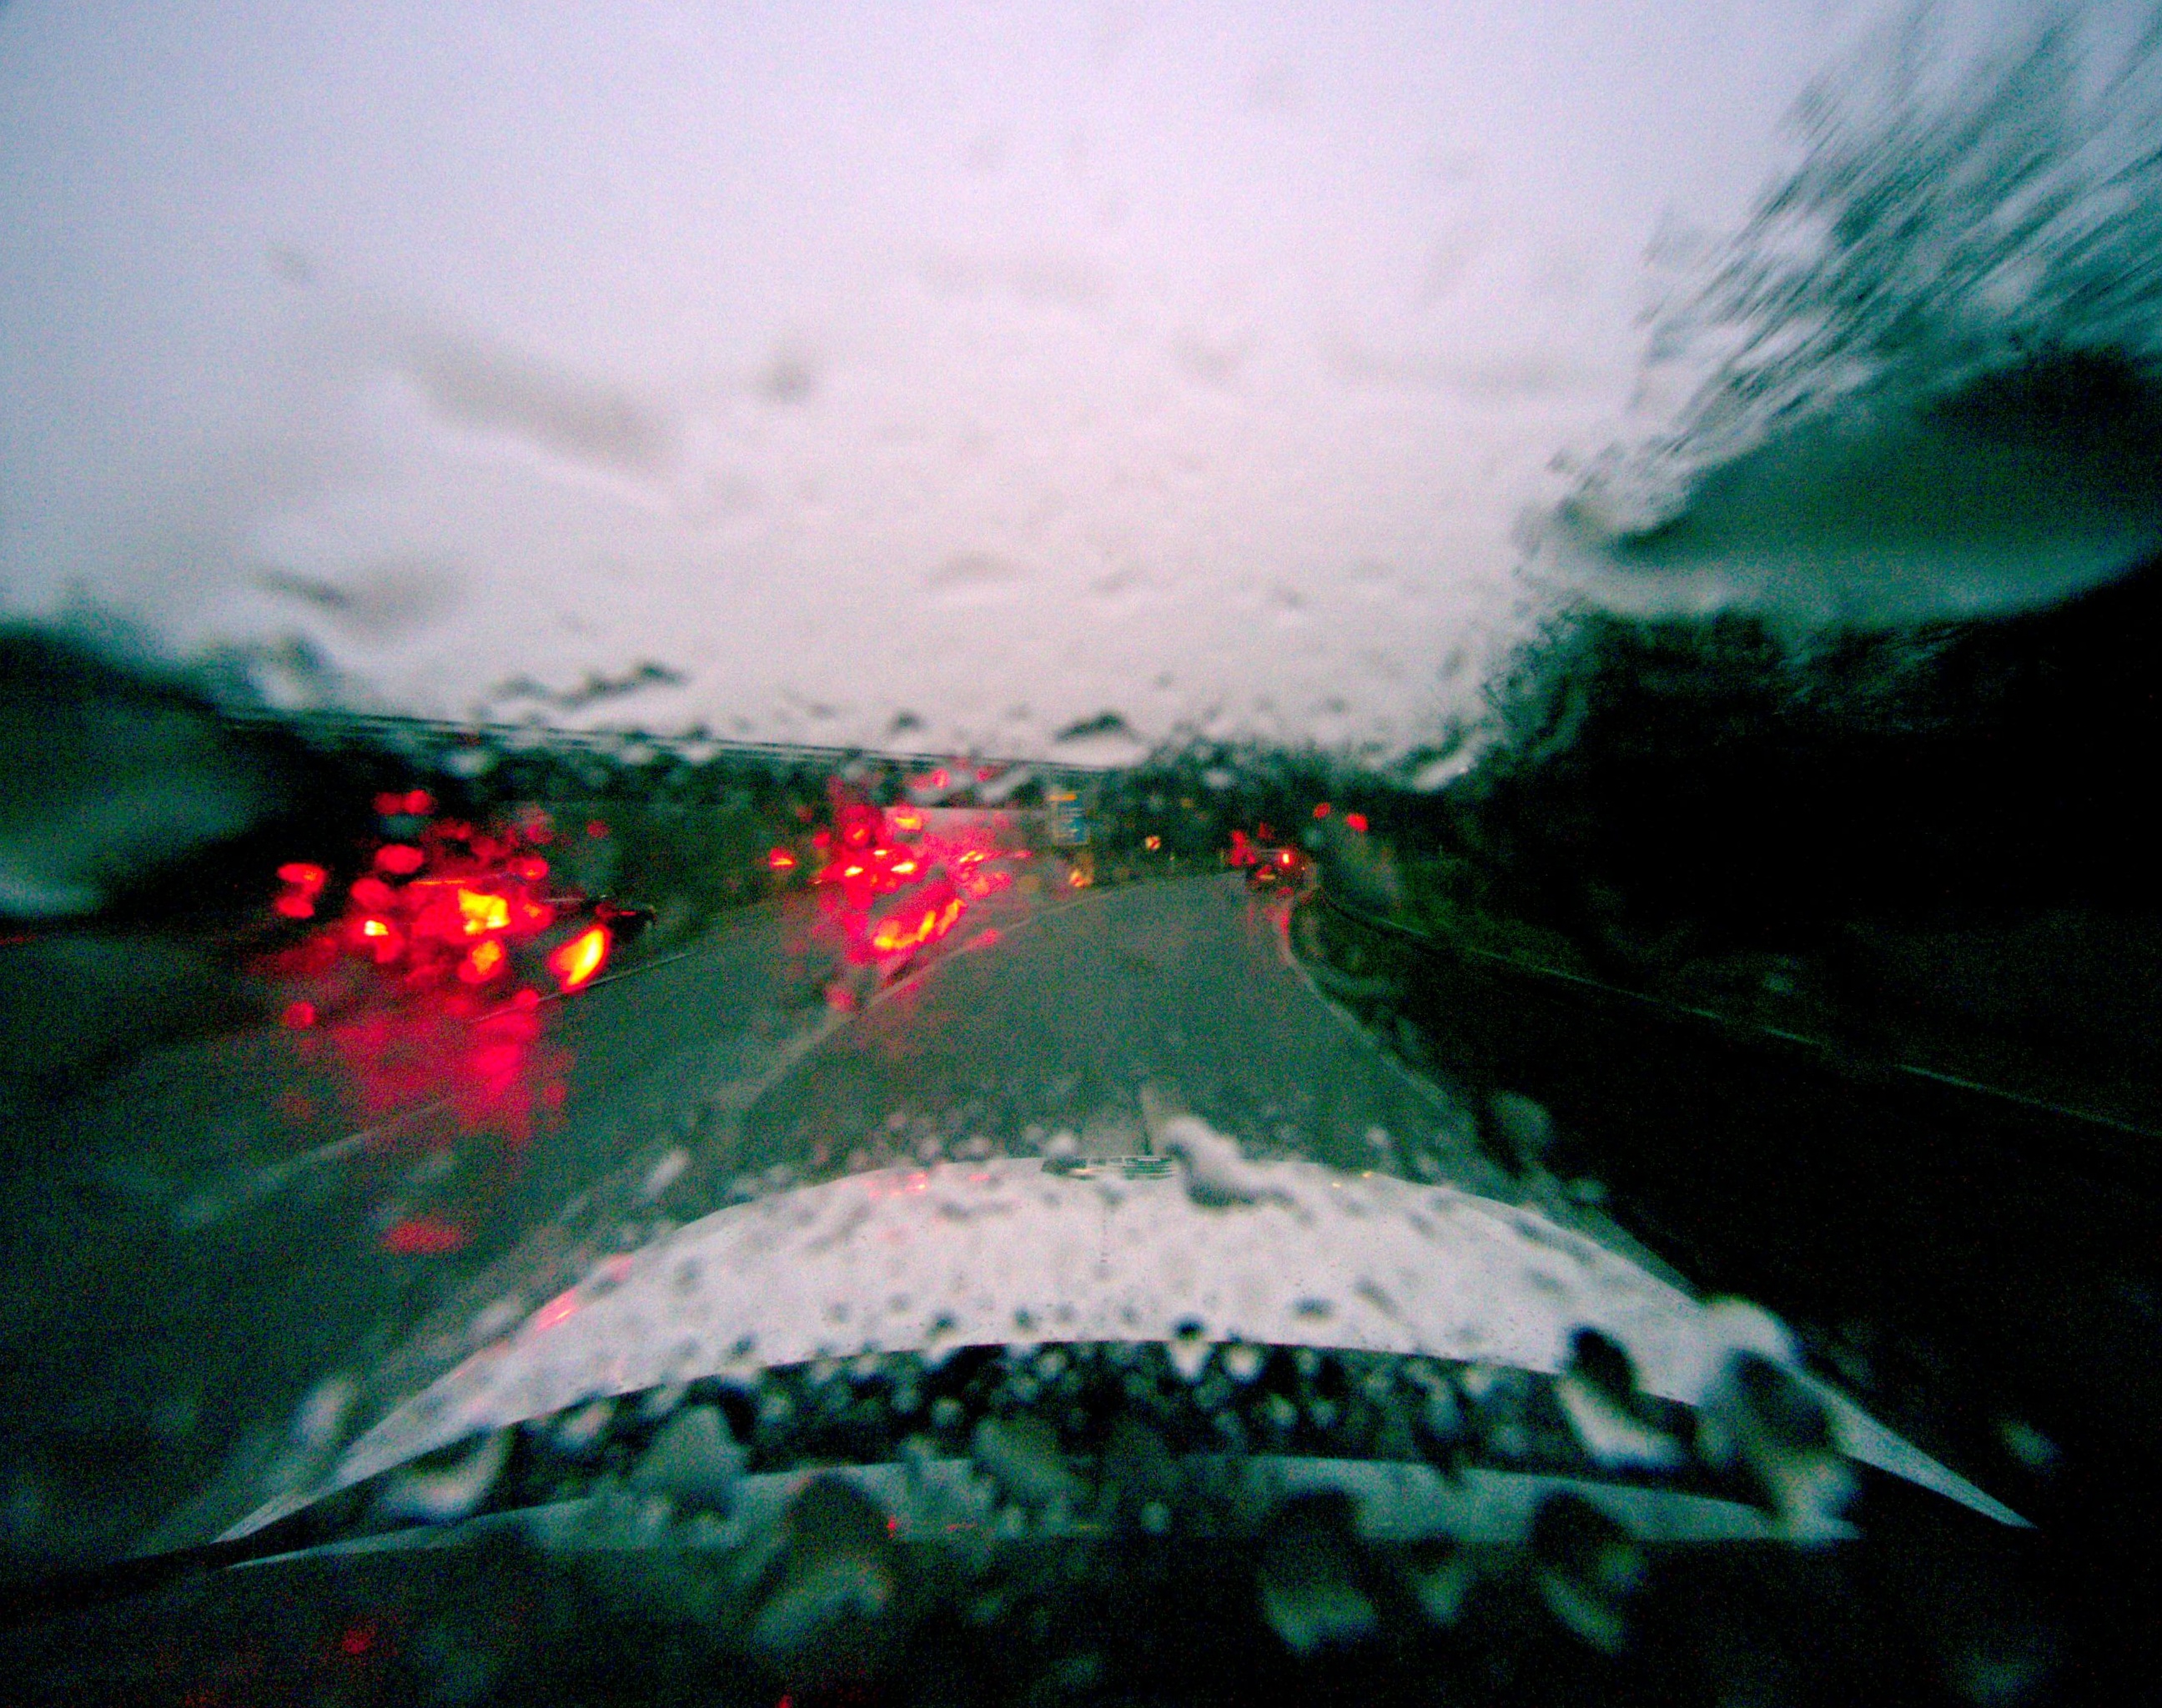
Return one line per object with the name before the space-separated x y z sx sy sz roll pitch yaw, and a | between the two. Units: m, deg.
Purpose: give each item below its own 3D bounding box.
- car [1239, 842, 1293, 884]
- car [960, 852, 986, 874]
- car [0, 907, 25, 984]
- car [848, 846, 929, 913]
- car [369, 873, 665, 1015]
car | 6.881 0.299 30.111 1.719 1.429 3.781 -1 1 16
car | -9.462 0.754 71.550 1.873 1.617 3.872 -2 2 -2
car | -23.210 1.958 15.036 1.750 1.569 4.394 -1 1 -3
car | -5.582 0.671 24.040 1.994 1.664 3.986 -4 1 -10
car | -8.260 1.190 12.531 1.797 1.467 4.401 -6 1 -8
